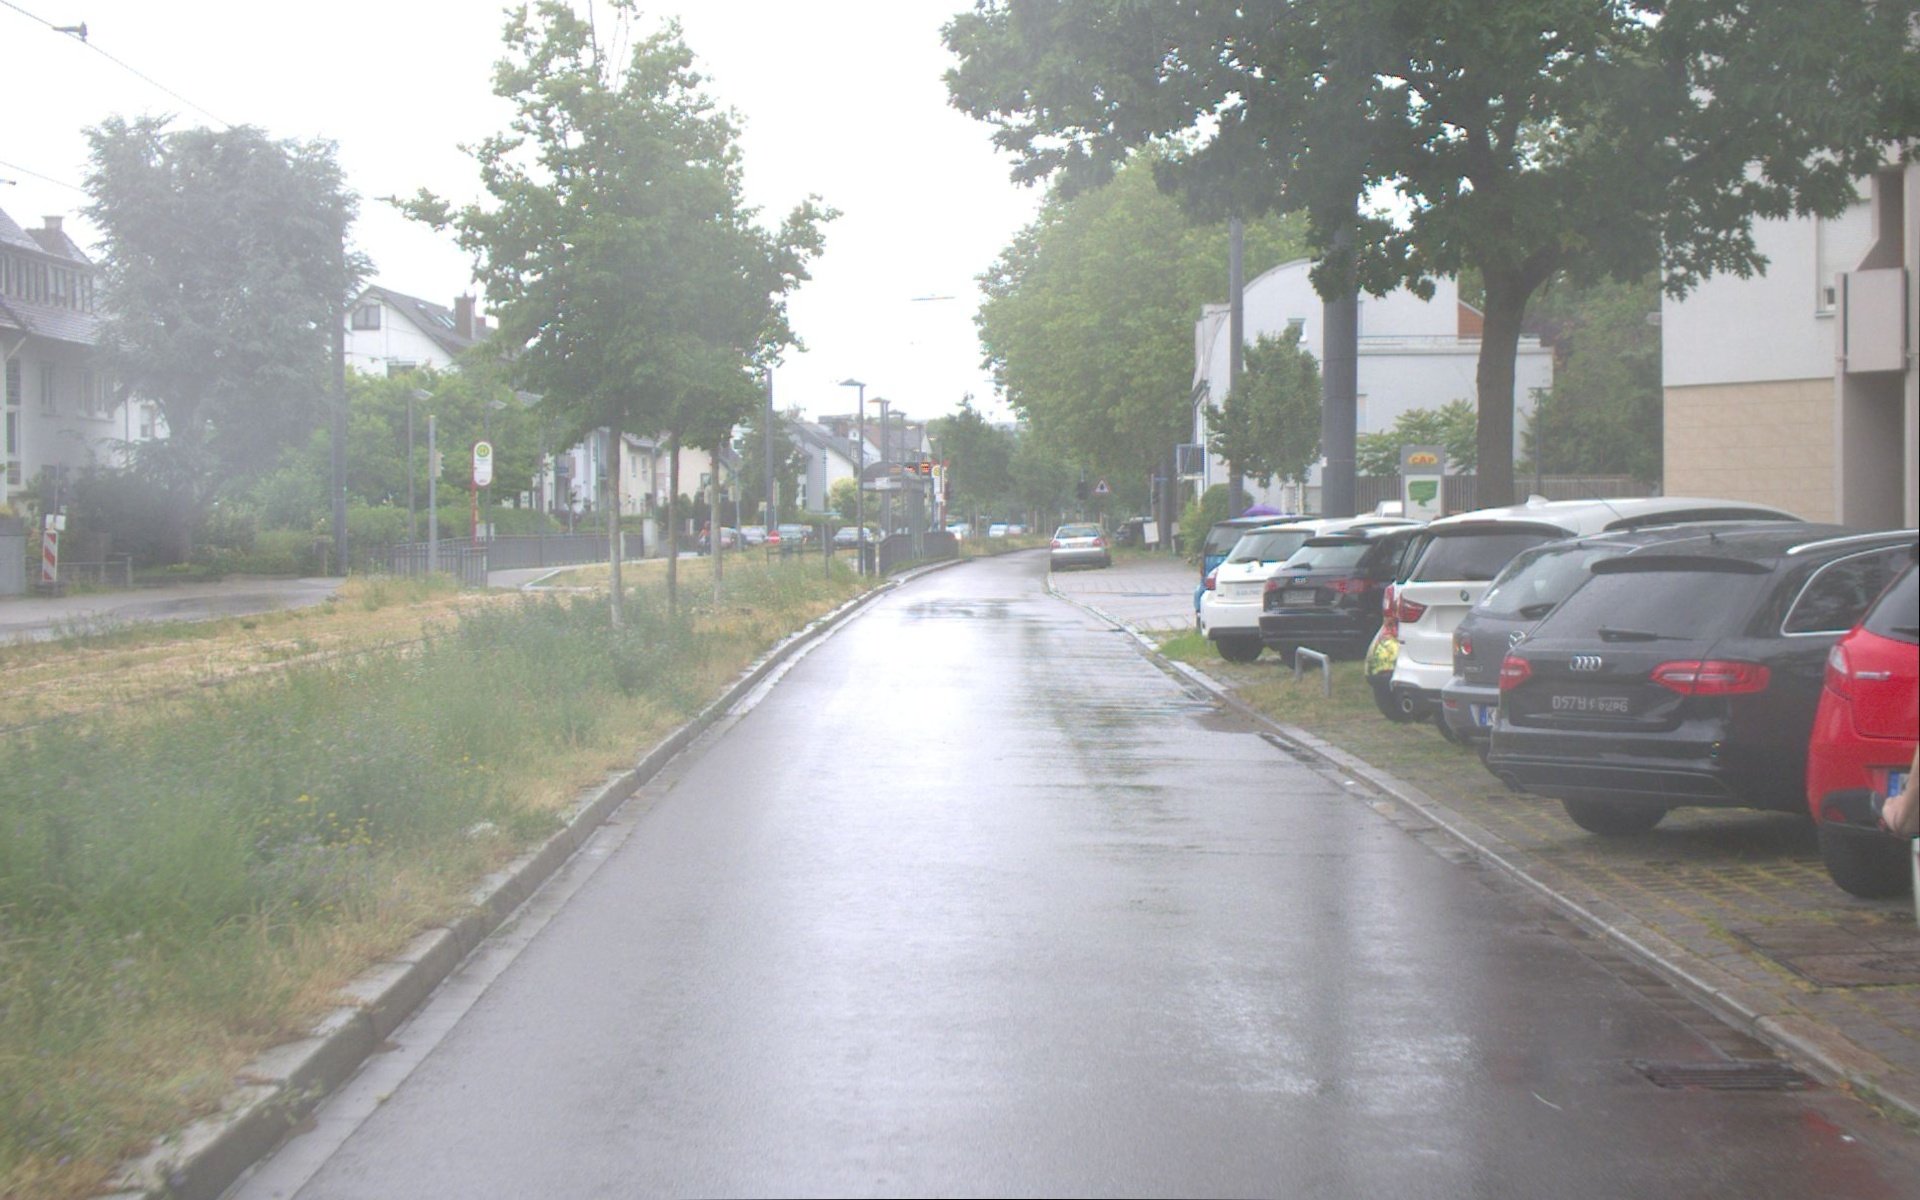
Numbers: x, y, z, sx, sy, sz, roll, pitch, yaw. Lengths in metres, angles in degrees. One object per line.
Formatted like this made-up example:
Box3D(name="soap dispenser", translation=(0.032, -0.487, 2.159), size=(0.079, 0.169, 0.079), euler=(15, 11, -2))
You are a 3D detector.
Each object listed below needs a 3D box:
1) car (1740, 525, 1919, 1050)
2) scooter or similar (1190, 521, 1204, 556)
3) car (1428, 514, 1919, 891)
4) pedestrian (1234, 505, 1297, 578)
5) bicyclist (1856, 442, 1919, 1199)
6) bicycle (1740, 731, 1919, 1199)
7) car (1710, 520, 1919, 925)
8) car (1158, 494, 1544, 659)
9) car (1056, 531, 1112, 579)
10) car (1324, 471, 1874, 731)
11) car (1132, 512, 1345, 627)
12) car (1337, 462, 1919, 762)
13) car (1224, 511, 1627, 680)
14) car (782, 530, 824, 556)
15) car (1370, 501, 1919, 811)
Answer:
Box3D(name="car", translation=(4.703, 0.418, 10.788), size=(4.447, 1.460, 1.820), euler=(-4, 3, -34))
Box3D(name="scooter or similar", translation=(7.291, -1.887, 105.810), size=(0.333, 1.081, 1.395), euler=(1, 0, 7))
Box3D(name="car", translation=(4.481, 0.352, 16.230), size=(4.447, 1.423, 1.684), euler=(-4, 3, -33))
Box3D(name="pedestrian", translation=(6.405, -1.223, 72.050), size=(0.835, 1.512, 1.095), euler=(1, 0, -28))
Box3D(name="bicyclist", translation=(1.954, 0.504, 5.935), size=(0.534, 1.554, 0.773), euler=(1, 0, -6))
Box3D(name="bicycle", translation=(1.945, 0.825, 6.042), size=(0.536, 1.089, 1.949), euler=(1, 1, -5))
Box3D(name="car", translation=(5.211, 0.334, 13.871), size=(4.448, 1.423, 1.809), euler=(-5, 3, -38))
Box3D(name="car", translation=(4.348, -0.292, 37.889), size=(4.174, 1.542, 1.764), euler=(-5, 3, -39))
Box3D(name="car", translation=(3.925, -1.405, 108.112), size=(1.650, 1.400, 4.649), euler=(-3, 0, 3))
Box3D(name="car", translation=(4.929, -0.047, 26.258), size=(4.173, 1.666, 1.684), euler=(-5, 3, -36))
Box3D(name="car", translation=(3.887, -0.435, 47.865), size=(2.557, 1.542, 1.602), euler=(-1, 1, -39))
Box3D(name="car", translation=(4.770, 0.007, 23.016), size=(4.448, 1.666, 1.812), euler=(-5, 3, -39))
Box3D(name="car", translation=(4.731, -0.084, 34.724), size=(3.933, 1.426, 1.684), euler=(-5, 3, -36))
Box3D(name="car", translation=(-9.169, -3.344, 201.032), size=(1.929, 1.481, 3.999), euler=(1, 1, 5))
Box3D(name="car", translation=(4.641, 0.231, 19.652), size=(4.447, 1.405, 1.768), euler=(-4, 3, -34))
